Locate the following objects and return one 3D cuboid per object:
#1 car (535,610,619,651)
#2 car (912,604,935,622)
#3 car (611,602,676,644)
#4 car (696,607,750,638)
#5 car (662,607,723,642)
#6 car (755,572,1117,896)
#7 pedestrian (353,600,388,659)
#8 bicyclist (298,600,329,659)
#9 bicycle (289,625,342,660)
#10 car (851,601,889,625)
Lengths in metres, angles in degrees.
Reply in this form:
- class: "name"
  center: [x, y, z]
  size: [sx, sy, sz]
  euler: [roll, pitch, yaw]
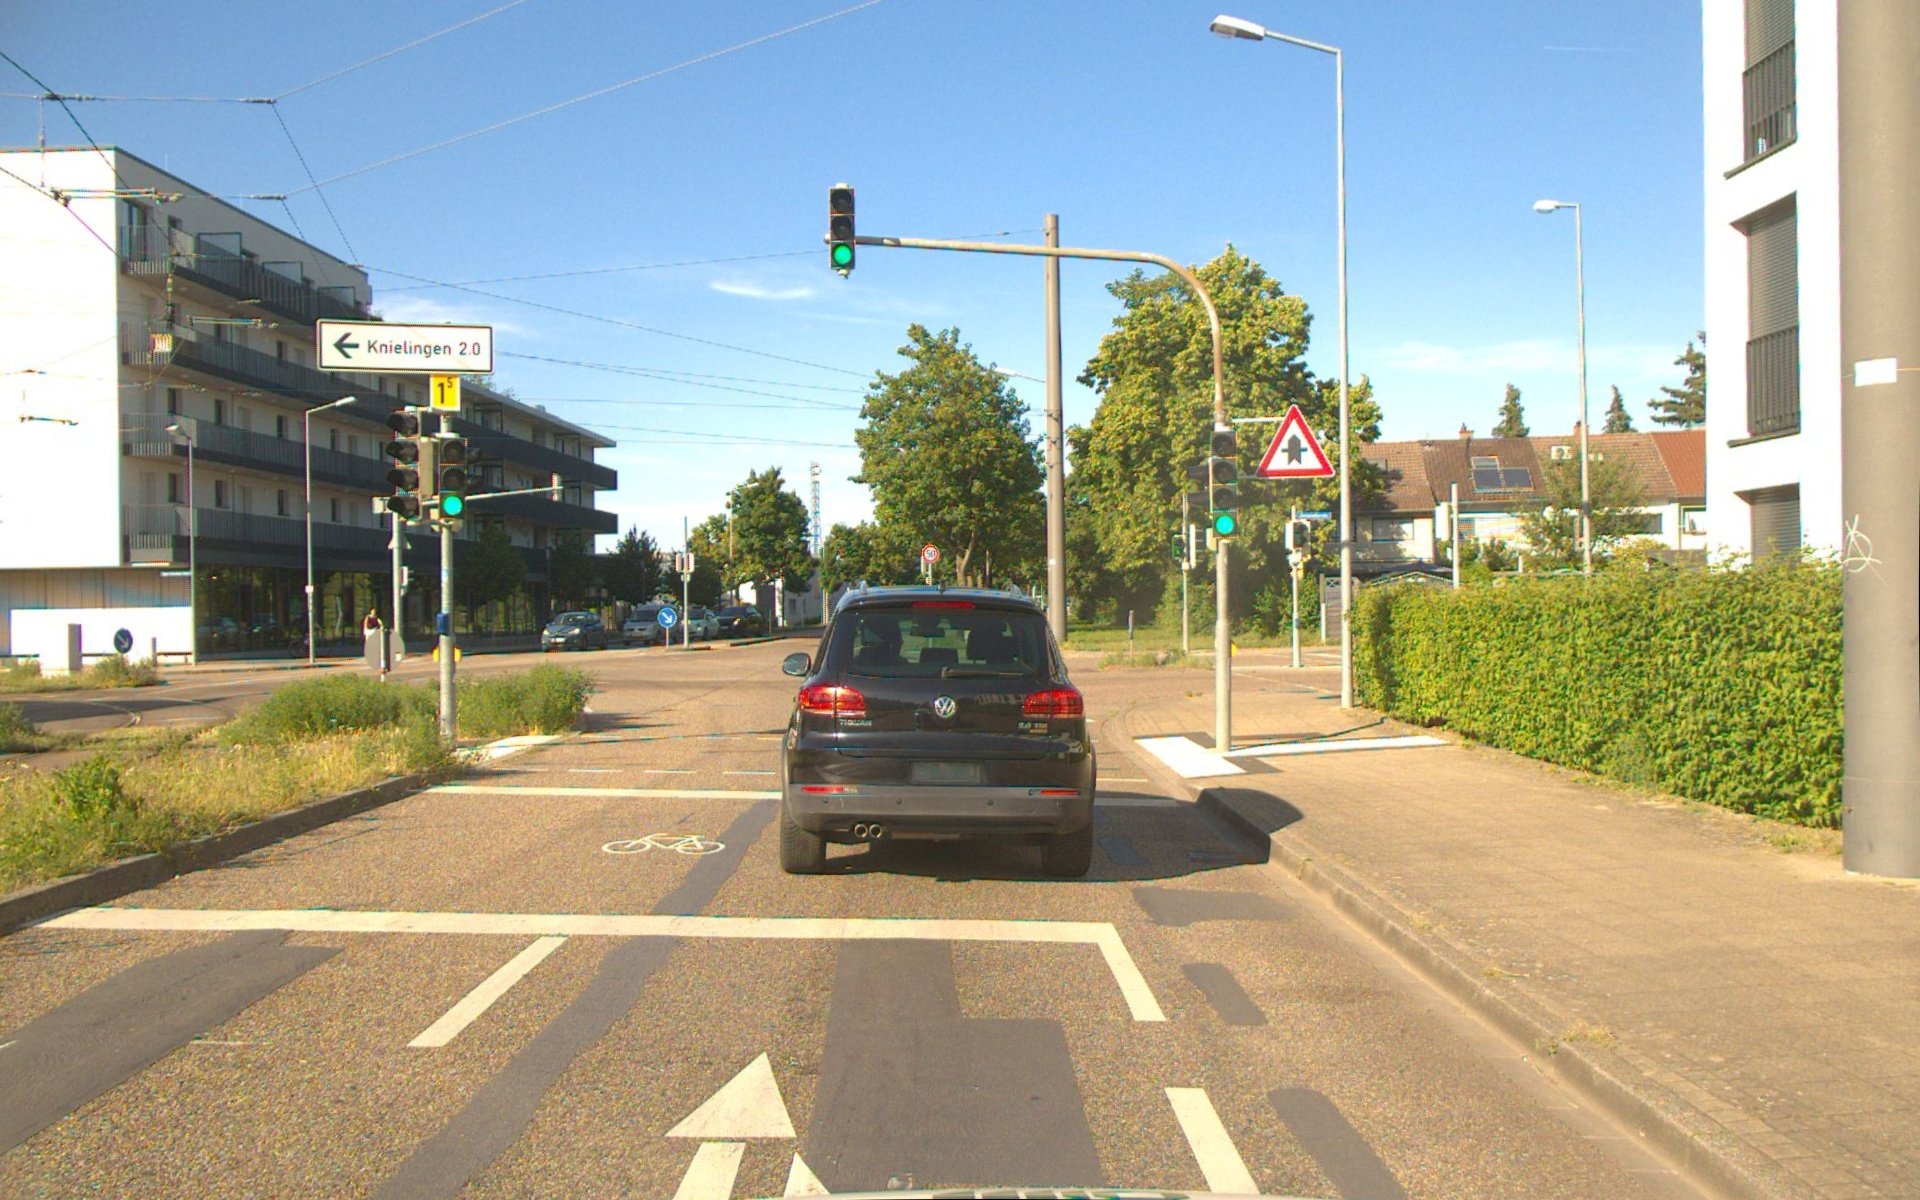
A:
- class: "car"
  center: [-14.783, 1.161, 64.083]
  size: [1.659, 1.482, 4.456]
  euler: [-1, 0, 8]
- class: "car"
  center: [-3.698, 1.317, 166.475]
  size: [1.952, 1.768, 5.200]
  euler: [-1, 0, 2]
- class: "car"
  center: [-14.084, 0.993, 73.848]
  size: [1.952, 1.786, 4.362]
  euler: [-1, 0, 1]
- class: "car"
  center: [-12.335, 1.149, 86.461]
  size: [1.926, 1.561, 4.742]
  euler: [-1, 0, 2]
- class: "car"
  center: [-12.951, 1.174, 80.313]
  size: [1.951, 1.513, 3.546]
  euler: [-3, 0, 6]
- class: "car"
  center: [-0.174, 0.725, 11.029]
  size: [1.890, 1.683, 4.513]
  euler: [1, 0, -1]
- class: "pedestrian"
  center: [-20.747, 1.025, 58.209]
  size: [0.957, 2.049, 0.760]
  euler: [-1, 0, -2]
- class: "bicyclist"
  center: [-23.014, 1.050, 58.900]
  size: [0.788, 2.049, 0.800]
  euler: [-1, -1, -40]
- class: "bicycle"
  center: [-22.960, 1.515, 58.936]
  size: [1.628, 1.164, 0.734]
  euler: [-1, 0, -41]
- class: "car"
  center: [-6.438, 0.907, 118.225]
  size: [1.951, 1.599, 4.003]
  euler: [-2, 0, 8]
